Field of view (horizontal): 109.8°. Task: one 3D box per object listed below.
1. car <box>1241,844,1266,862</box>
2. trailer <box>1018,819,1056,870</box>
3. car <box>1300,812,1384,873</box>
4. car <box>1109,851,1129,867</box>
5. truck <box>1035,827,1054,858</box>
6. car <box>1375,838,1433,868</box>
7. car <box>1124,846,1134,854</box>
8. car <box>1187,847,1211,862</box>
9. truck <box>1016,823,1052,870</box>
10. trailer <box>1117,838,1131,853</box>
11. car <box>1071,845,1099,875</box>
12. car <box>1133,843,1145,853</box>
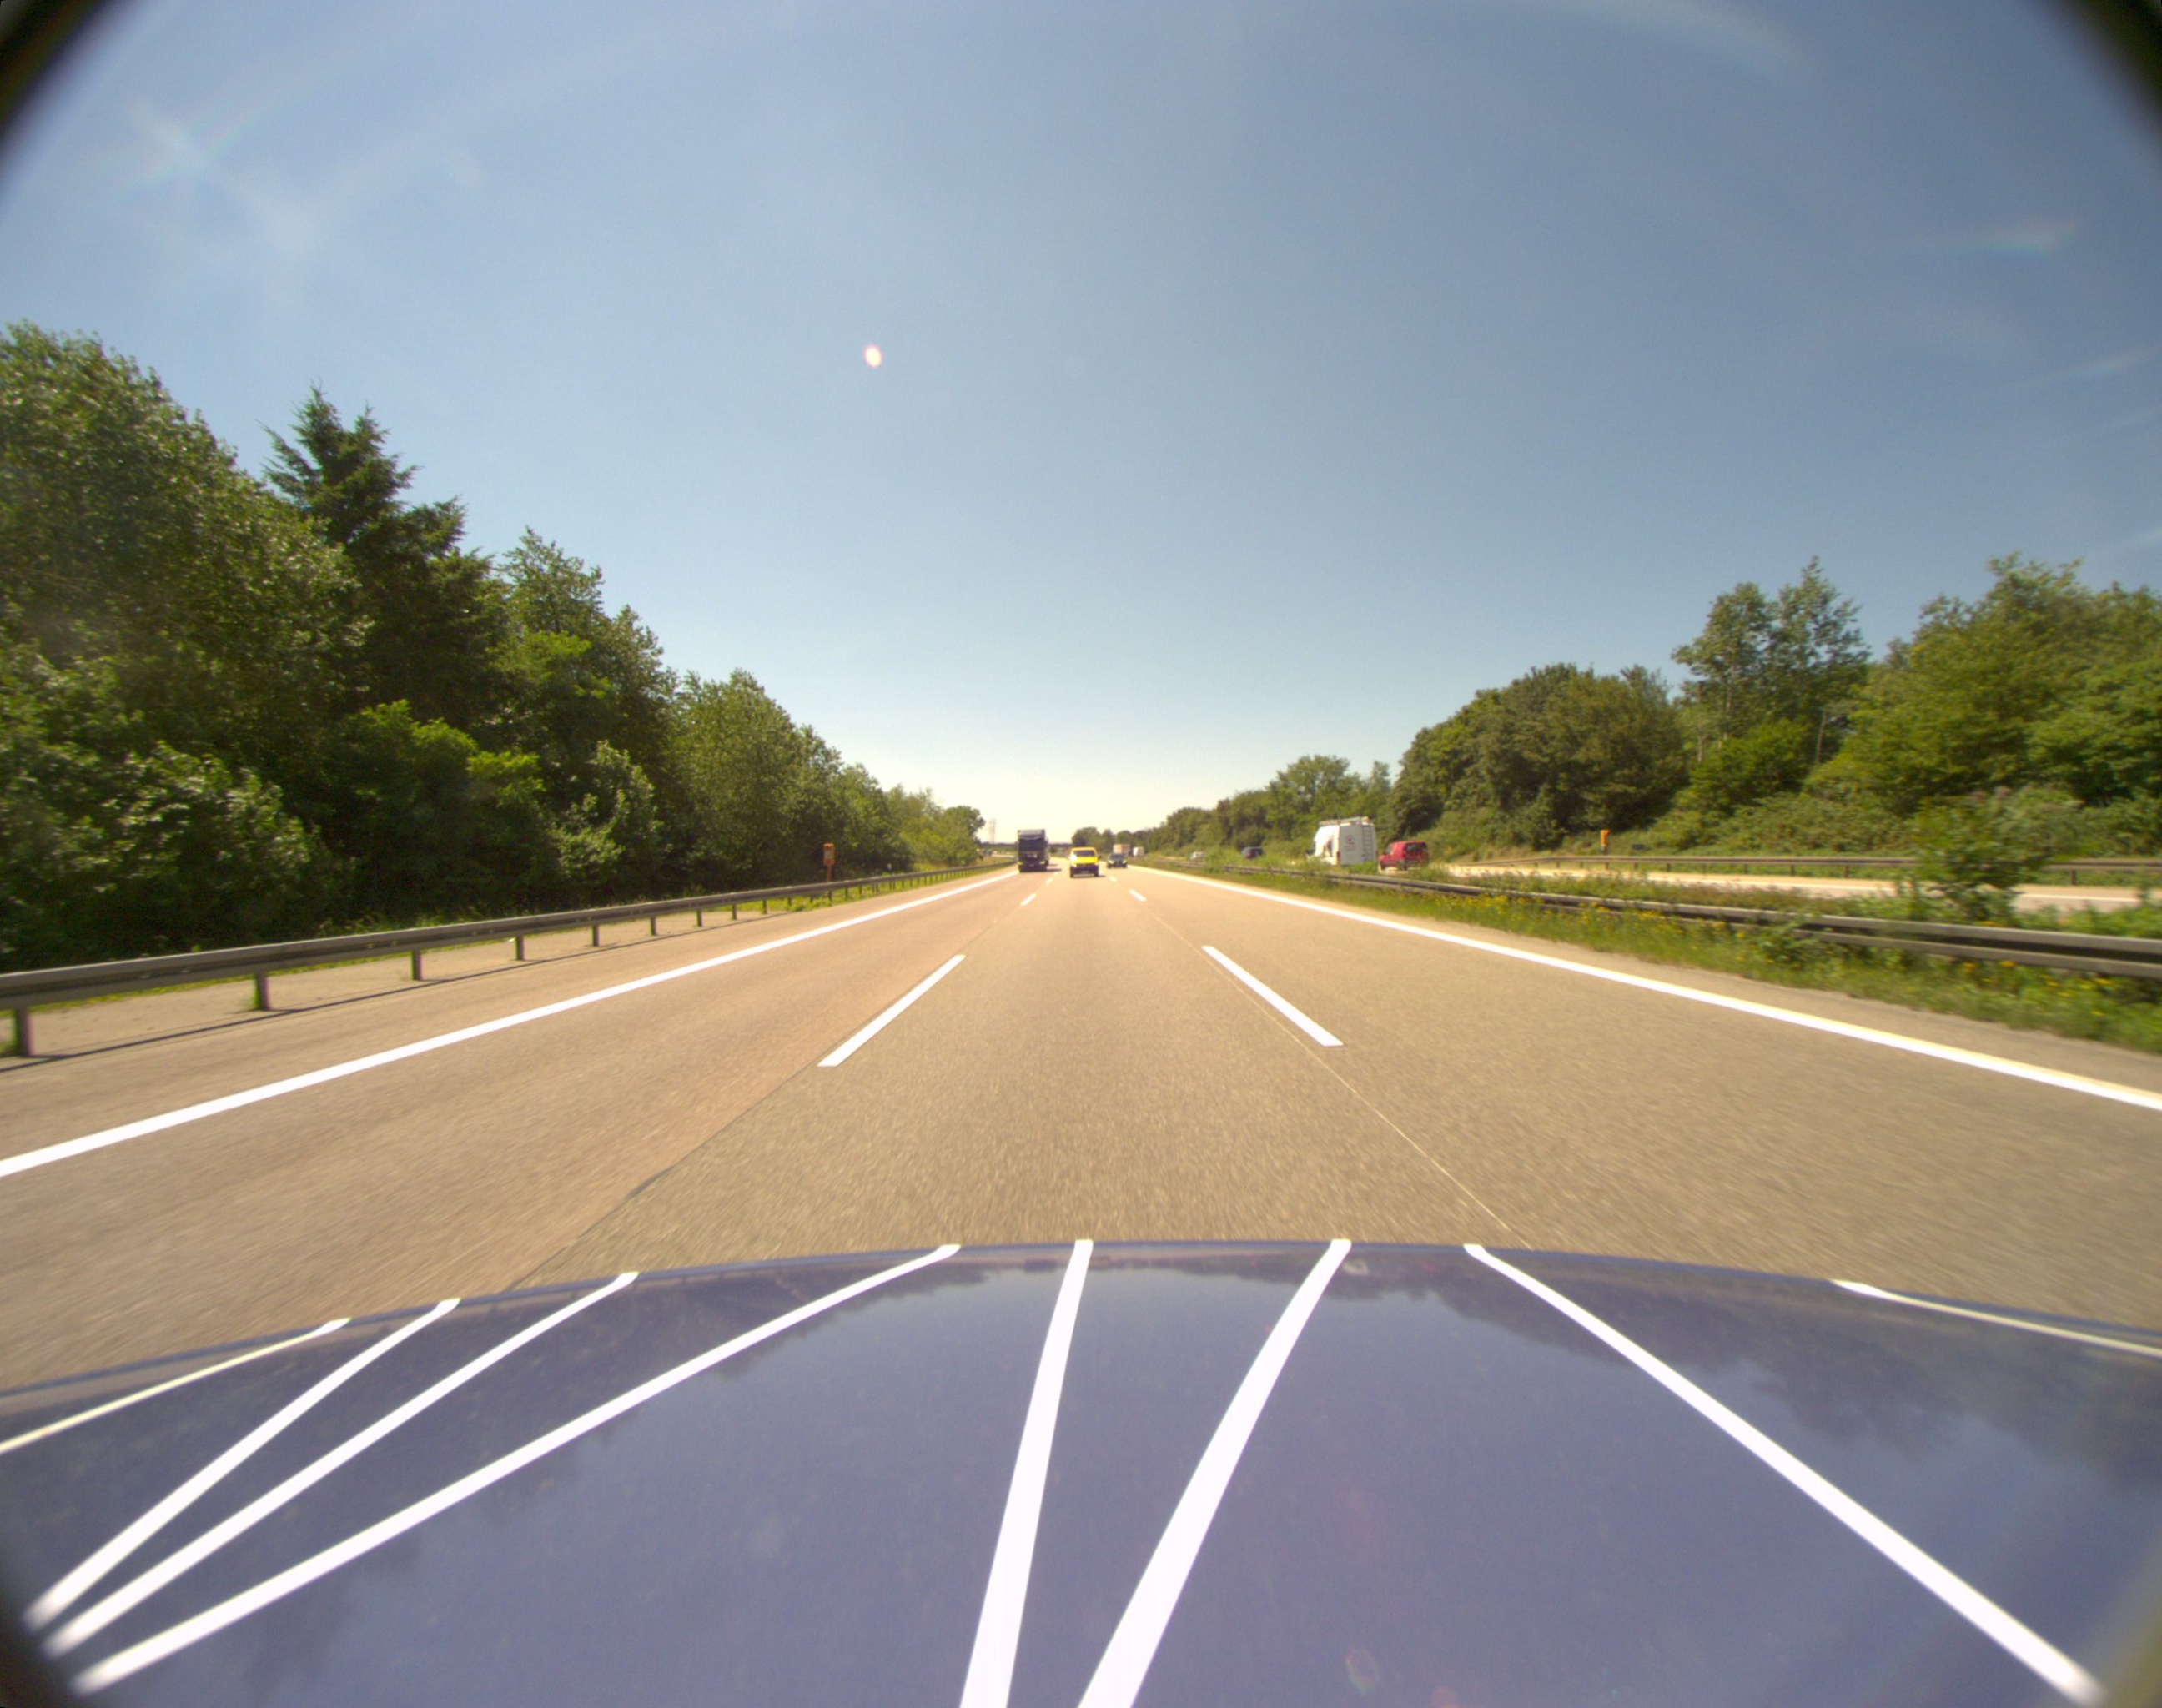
[{"bbox_3d":[16.915,-0.118,74.659,1.671,1.744,4.000,-2,0,2],"label":"car"},{"bbox_3d":[-4.382,-0.950,78.591,2.908,4.630,13.984,-2,1,0],"label":"trailer"},{"bbox_3d":[12.961,-0.554,38.162,2.094,2.763,5.827,-2,0,-1],"label":"car"},{"bbox_3d":[3.693,0.454,75.136,1.726,1.478,3.999,-1,0,0],"label":"car"},{"bbox_3d":[-5.304,-1.595,110.189,2.608,4.230,5.089,-2,-1,-3],"label":"truck"},{"bbox_3d":[20.551,-0.085,48.526,1.708,1.766,4.767,-2,0,1],"label":"car"},{"bbox_3d":[11.233,-0.920,177.330,1.831,1.895,4.955,-1,0,-2],"label":"car"},{"bbox_3d":[12.591,0.064,81.326,1.767,1.504,4.392,-2,0,0],"label":"car"},{"bbox_3d":[-4.382,-0.693,71.333,2.915,4.231,4.974,-2,1,0],"label":"truck"},{"bbox_3d":[12.628,-2.518,225.689,2.713,4.160,13.553,-1,0,-3],"label":"trailer"},{"bbox_3d":[0.243,0.380,50.135,1.777,1.882,3.832,0,1,0],"label":"car"},{"bbox_3d":[14.584,-1.493,192.834,2.235,2.561,7.389,-1,0,-2],"label":"car"}]
